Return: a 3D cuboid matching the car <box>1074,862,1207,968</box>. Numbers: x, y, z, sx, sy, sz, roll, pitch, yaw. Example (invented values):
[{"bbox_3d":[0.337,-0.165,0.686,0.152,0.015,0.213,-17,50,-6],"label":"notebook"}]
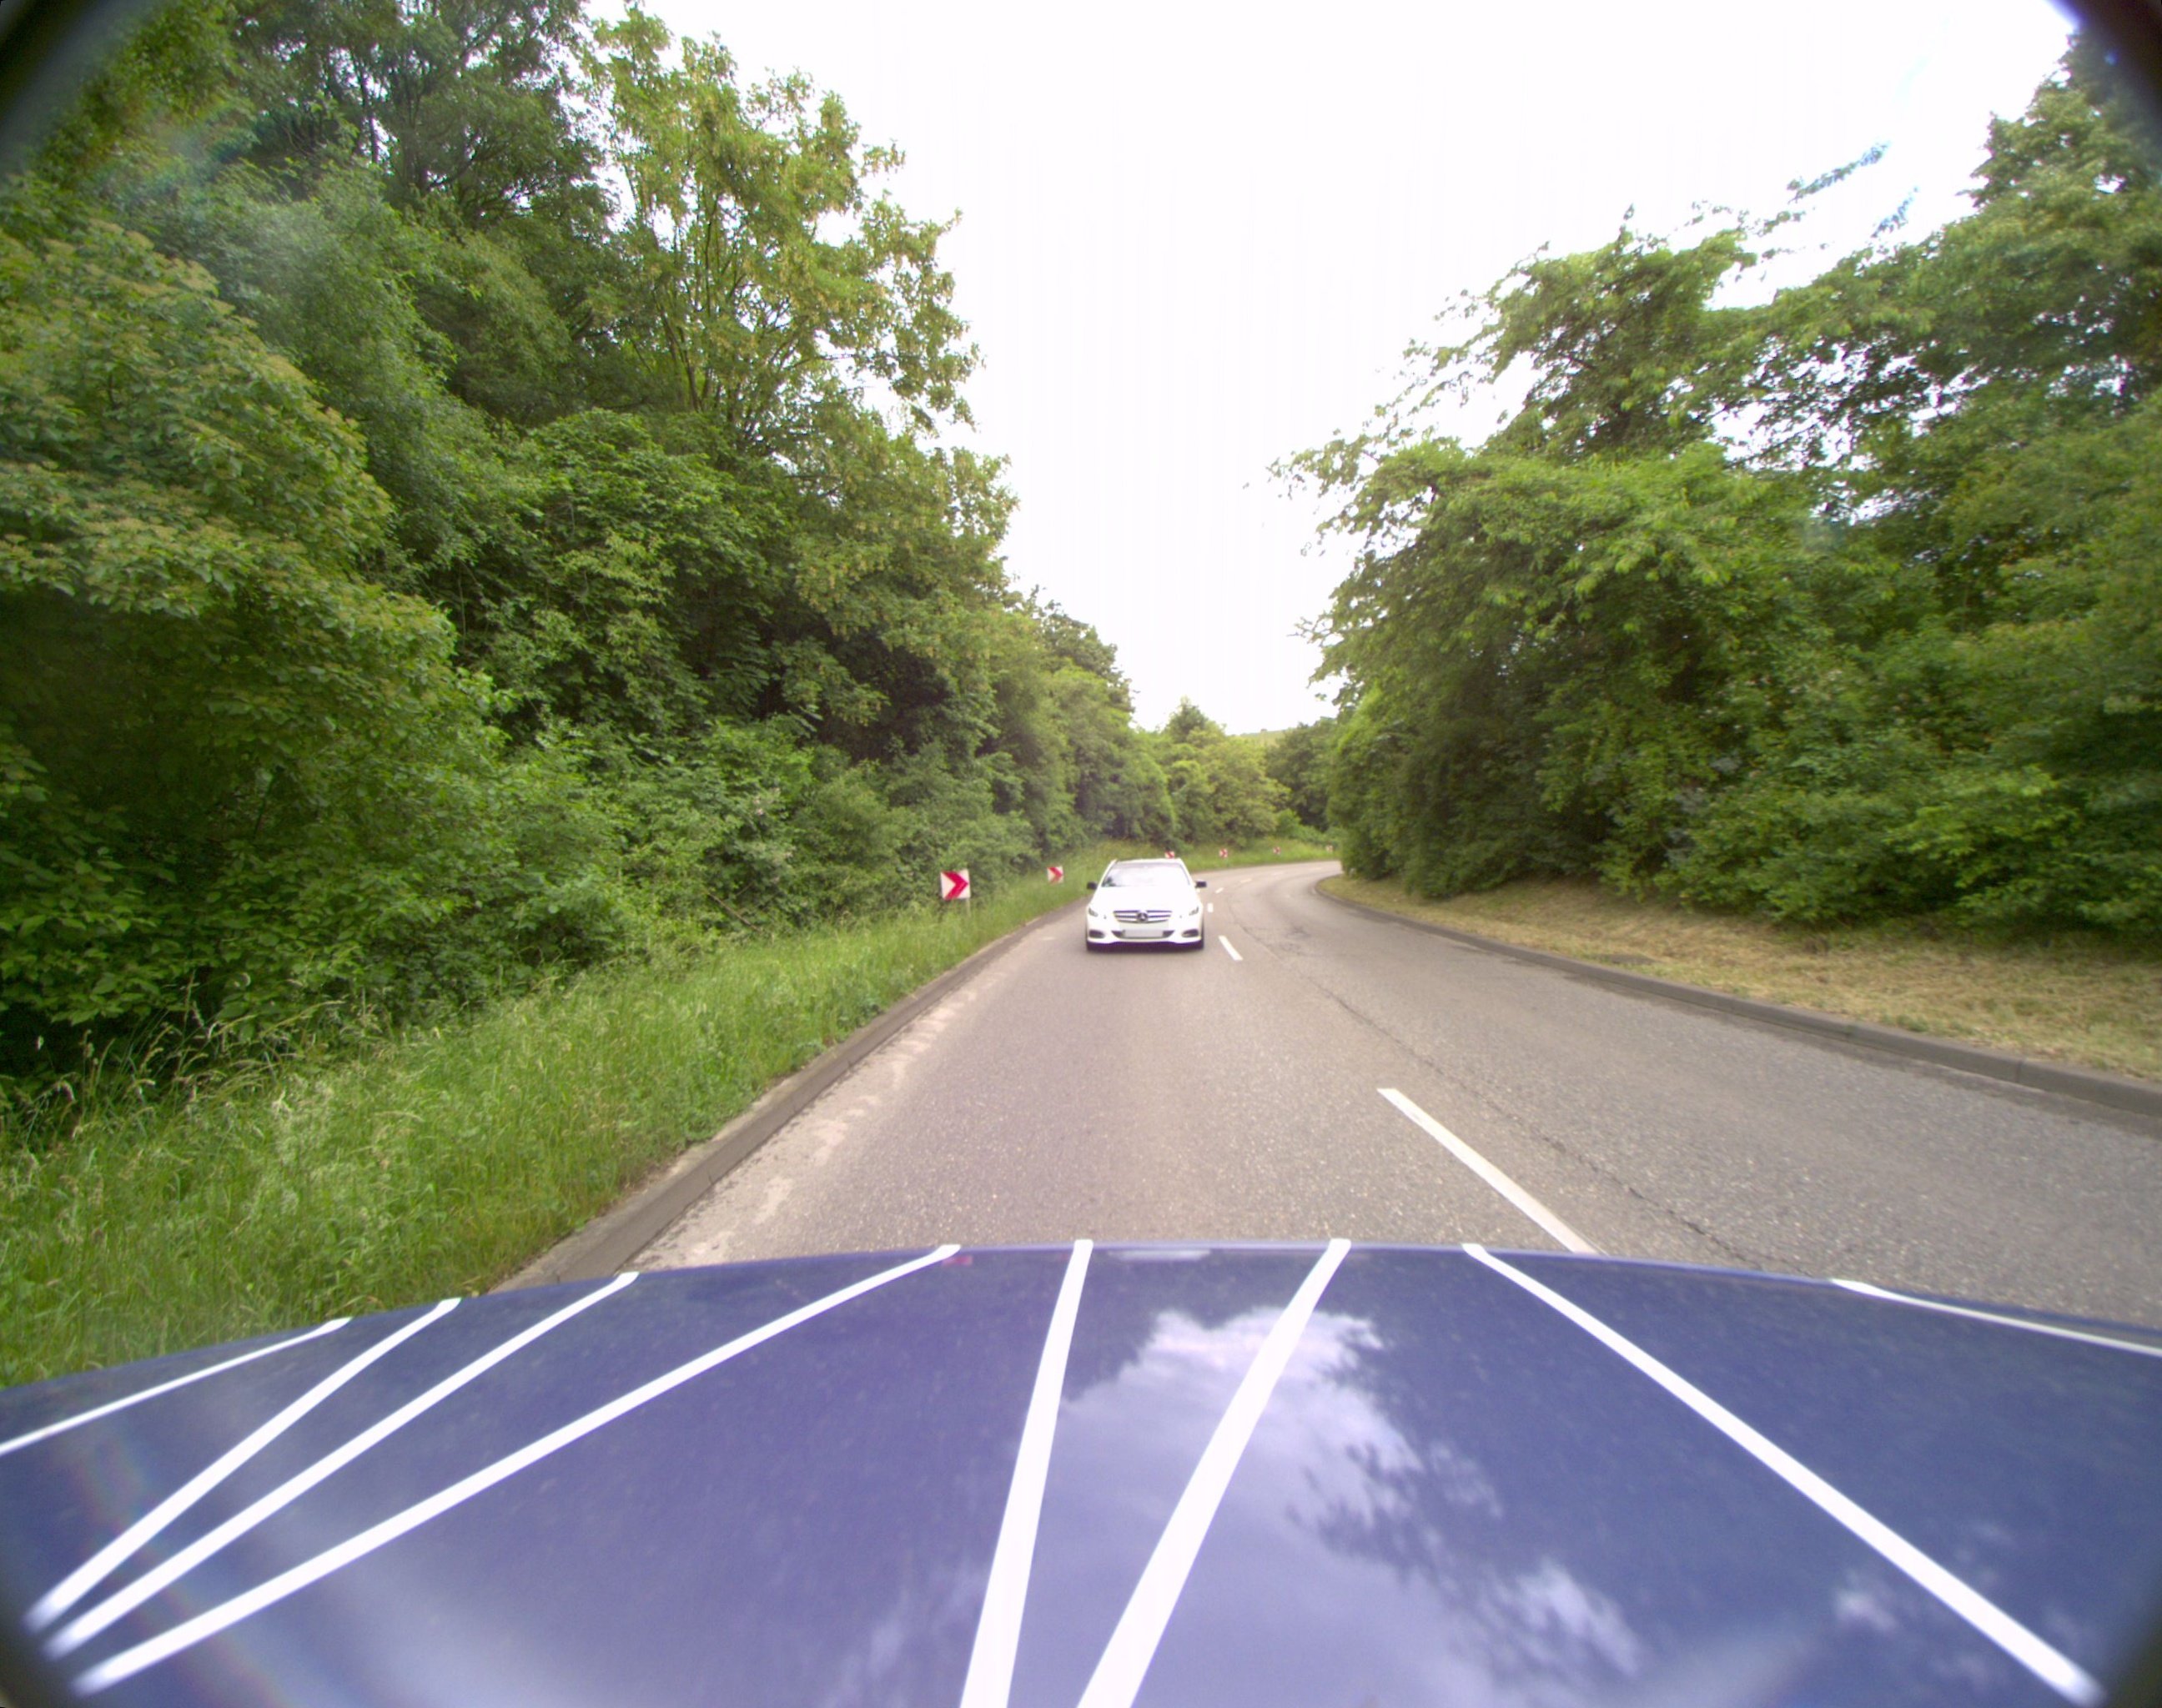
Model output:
[{"bbox_3d":[1.099,0.896,12.976,1.865,1.423,4.358,-1,0,7],"label":"car"}]
